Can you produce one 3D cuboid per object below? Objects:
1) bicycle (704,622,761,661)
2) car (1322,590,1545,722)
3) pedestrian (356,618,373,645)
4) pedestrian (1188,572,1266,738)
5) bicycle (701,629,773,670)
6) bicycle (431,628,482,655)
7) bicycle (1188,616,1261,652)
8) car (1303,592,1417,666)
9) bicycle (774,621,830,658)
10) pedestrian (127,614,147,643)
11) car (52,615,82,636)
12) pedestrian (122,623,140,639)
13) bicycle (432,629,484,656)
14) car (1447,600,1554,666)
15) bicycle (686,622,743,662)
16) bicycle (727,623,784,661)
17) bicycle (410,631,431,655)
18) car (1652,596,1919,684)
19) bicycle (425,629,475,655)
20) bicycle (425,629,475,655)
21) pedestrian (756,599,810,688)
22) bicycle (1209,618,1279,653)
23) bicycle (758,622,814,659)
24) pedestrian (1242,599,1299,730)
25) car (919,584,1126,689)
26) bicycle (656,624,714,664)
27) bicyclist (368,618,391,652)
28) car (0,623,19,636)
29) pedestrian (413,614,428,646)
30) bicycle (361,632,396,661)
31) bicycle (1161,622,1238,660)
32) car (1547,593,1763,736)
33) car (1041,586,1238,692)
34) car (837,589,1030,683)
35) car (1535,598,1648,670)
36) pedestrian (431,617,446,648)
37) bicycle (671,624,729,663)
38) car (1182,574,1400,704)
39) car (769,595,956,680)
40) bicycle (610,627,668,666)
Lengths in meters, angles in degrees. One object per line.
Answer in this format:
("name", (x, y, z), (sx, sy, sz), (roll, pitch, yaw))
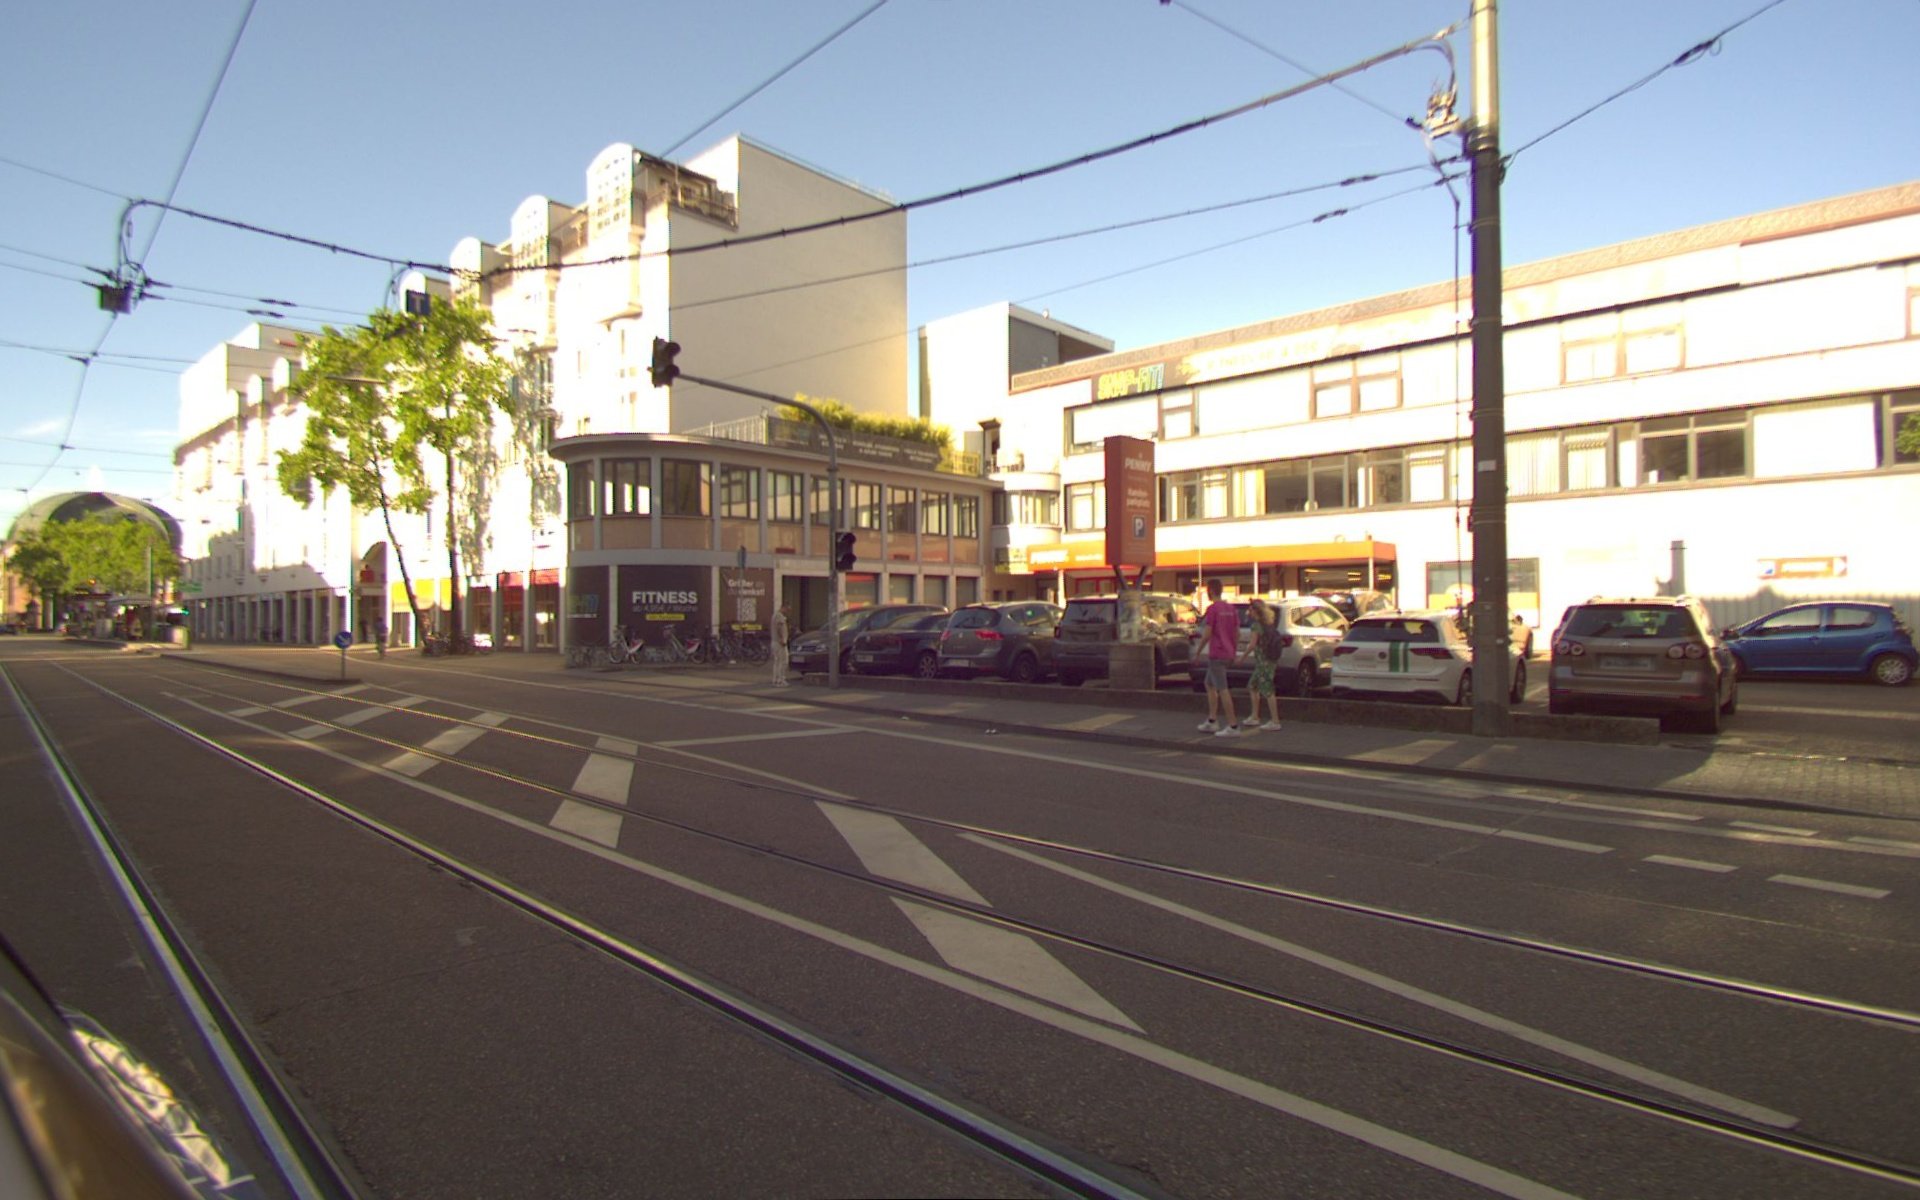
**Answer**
("bicycle", (-6.543, 1.175, 29.109), (1.875, 1.085, 0.459), (-1, -1, 35))
("car", (7.043, 0.708, 14.829), (1.785, 1.621, 4.188), (-2, 0, 42))
("pedestrian", (-36.973, 1.962, 62.834), (0.731, 1.657, 0.737), (-2, -1, 43))
("pedestrian", (3.277, 0.656, 12.423), (0.709, 1.961, 0.631), (-1, -1, 41))
("bicycle", (-5.984, 1.317, 27.202), (1.847, 1.044, 0.427), (0, -2, -23))
("bicycle", (-21.020, 1.740, 42.230), (1.849, 1.085, 0.465), (1, -2, -39))
("bicycle", (7.709, 0.981, 29.547), (2.061, 1.022, 0.499), (-1, -1, 40))
("car", (10.396, 0.724, 26.196), (1.694, 1.762, 3.542), (-2, -1, 40))
("bicycle", (-4.849, 1.211, 31.011), (1.874, 1.085, 0.459), (-2, -1, 34))
("pedestrian", (-49.273, 1.710, 60.612), (0.748, 1.657, 0.784), (2, -1, 43))
("car", (-95.055, 2.724, 107.716), (3.998, 2.029, 1.860), (-3, -1, 41))
("pedestrian", (-52.106, 1.970, 63.623), (0.747, 0.996, 0.784), (-1, -1, 43))
("bicycle", (-20.730, 1.755, 41.793), (1.849, 1.085, 0.465), (1, -2, -39))
("car", (13.498, 0.805, 25.186), (1.626, 1.493, 3.600), (1, -1, 40))
("bicycle", (-6.960, 1.191, 28.648), (1.875, 1.095, 0.459), (-1, -2, 35))
("bicycle", (-6.007, 1.235, 29.705), (1.874, 1.085, 0.459), (-2, -1, 34))
("bicycle", (-22.227, 1.775, 41.686), (0.463, 0.939, 1.757), (0, -1, -38))
("car", (15.270, 0.693, 18.651), (3.997, 1.465, 1.761), (-1, -1, 41))
("bicycle", (-21.672, 1.779, 43.024), (1.849, 1.085, 0.465), (1, -2, -39))
("bicycle", (-22.029, 1.802, 43.731), (1.851, 1.085, 0.512), (1, -2, -43))
("pedestrian", (-3.656, 0.879, 20.947), (0.778, 1.777, 0.707), (-1, 1, 35))
("bicycle", (8.687, 1.072, 31.011), (2.061, 1.022, 0.499), (-1, -1, 40))
("bicycle", (-5.270, 1.227, 30.589), (1.874, 1.085, 0.459), (-2, -1, 34))
("pedestrian", (3.981, 0.803, 12.972), (0.499, 1.629, 0.566), (-1, -1, 41))
("car", (1.315, 0.663, 19.770), (1.785, 1.826, 4.187), (-1, -1, 43))
("bicycle", (-7.560, 1.201, 27.819), (1.875, 1.088, 0.459), (-2, -2, 35))
("bicyclist", (-23.577, 1.405, 41.107), (0.718, 1.372, 0.556), (0, -1, 40))
("car", (-128.051, 4.011, 136.146), (4.000, 1.630, 1.972), (-2, -2, 43))
("pedestrian", (-28.542, 1.587, 53.523), (0.523, 1.657, 0.556), (-2, -1, 43))
("bicycle", (-23.598, 1.871, 41.069), (2.003, 1.132, 0.557), (-1, 2, 41))
("bicycle", (6.632, 1.118, 28.067), (2.061, 1.022, 0.504), (-1, -1, 40))
("car", (9.159, 0.690, 13.193), (1.785, 1.560, 4.188), (0, 0, 42))
("car", (3.288, 0.666, 18.149), (1.785, 1.685, 3.649), (-2, -2, 42))
("car", (-0.488, 0.722, 21.897), (1.785, 1.826, 4.188), (-1, -1, 42))
("car", (14.407, 0.743, 23.018), (1.694, 1.490, 3.542), (-2, -1, 40))
("pedestrian", (-27.933, 1.731, 54.220), (0.523, 1.657, 0.556), (-2, -1, 43))
("bicycle", (-7.269, 1.213, 28.242), (1.875, 1.044, 0.459), (-2, -2, 35))
("car", (5.459, 0.591, 16.377), (1.785, 1.825, 4.188), (1, -1, 42))
("car", (-2.177, 0.802, 23.509), (1.785, 1.777, 4.188), (-2, -1, 42))
("bicycle", (-8.938, 1.286, 28.144), (1.875, 1.044, 0.519), (-2, -2, 35))
